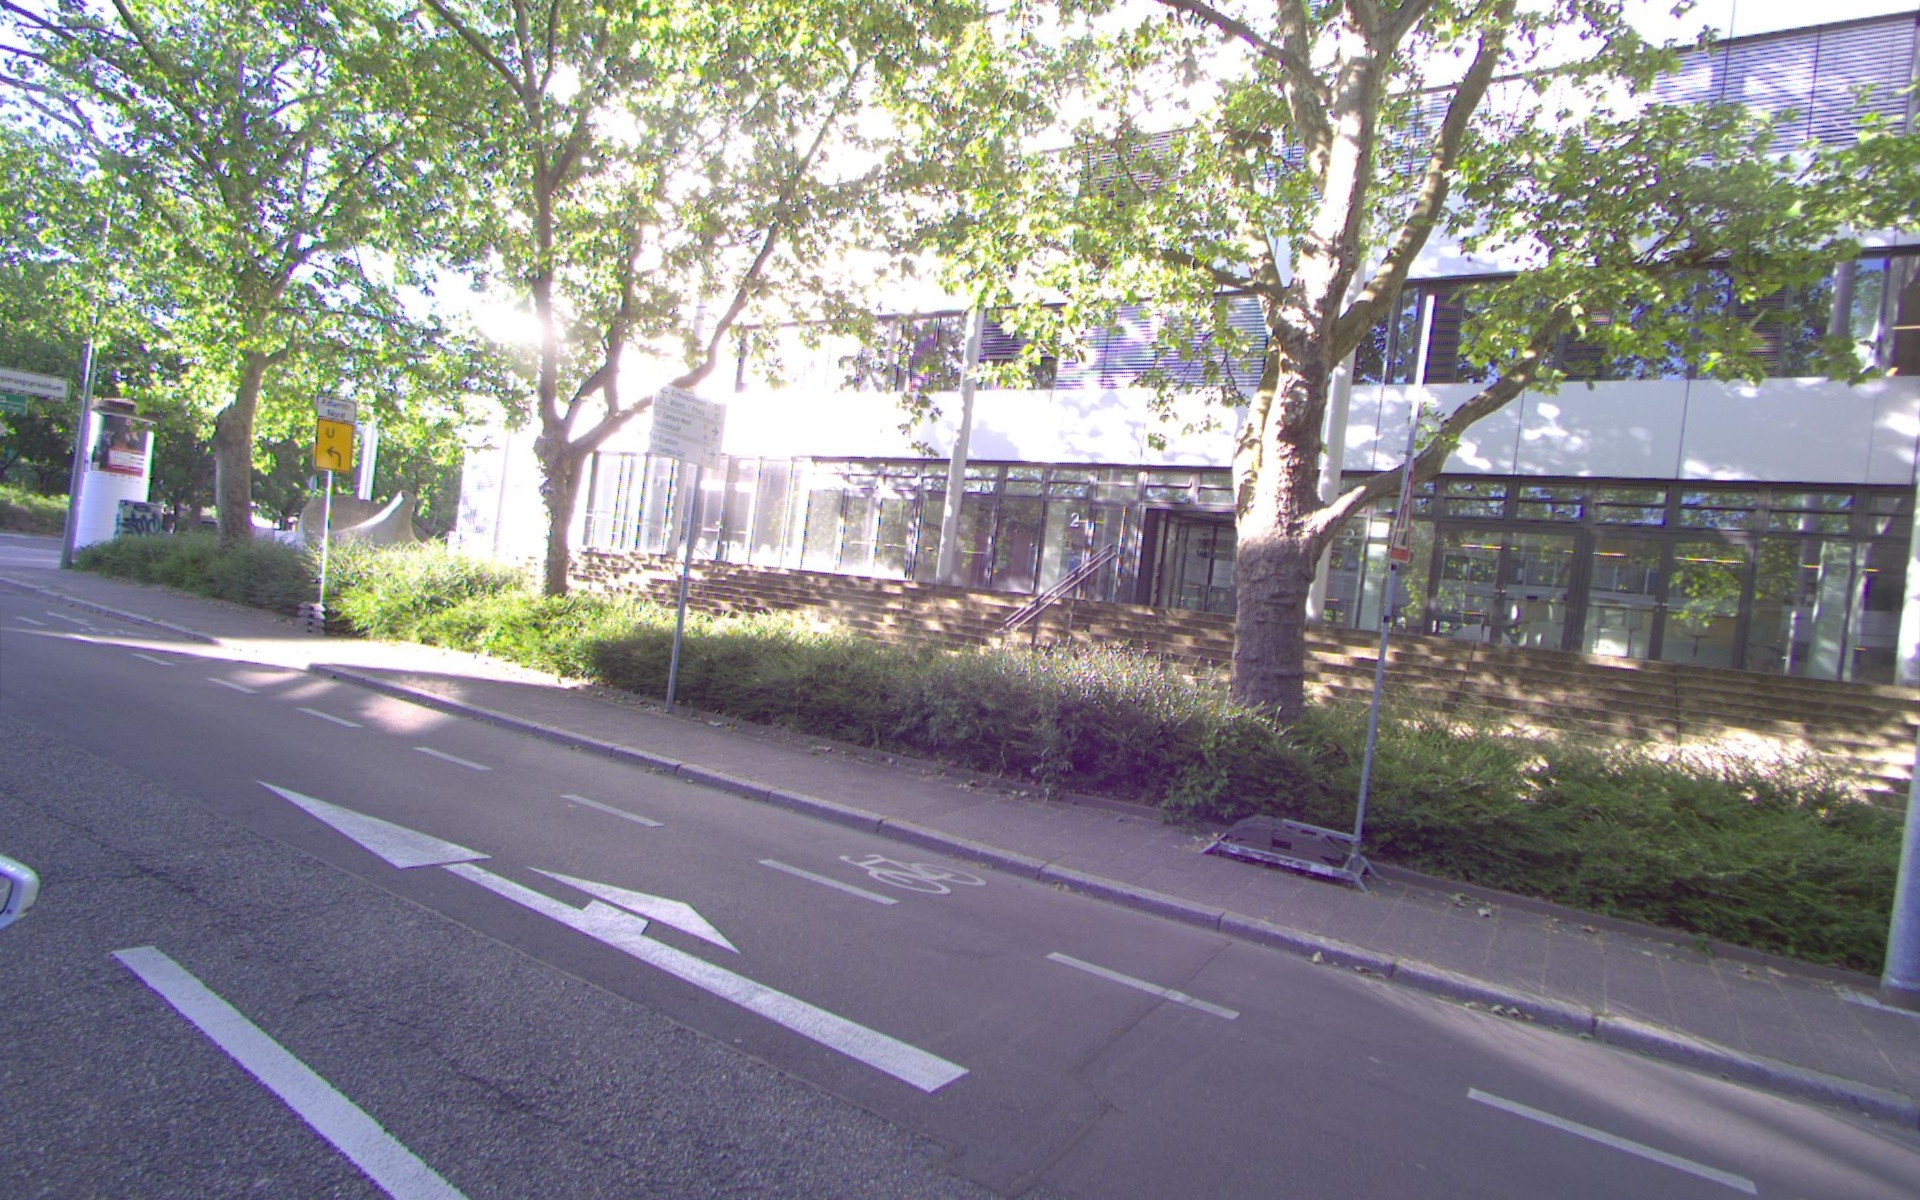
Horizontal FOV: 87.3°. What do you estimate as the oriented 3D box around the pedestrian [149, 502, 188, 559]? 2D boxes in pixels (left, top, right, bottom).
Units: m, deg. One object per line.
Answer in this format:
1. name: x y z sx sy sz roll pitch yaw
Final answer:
1. pedestrian: -26.698 -2.358 33.927 0.719 1.799 0.735 6 -1 42
